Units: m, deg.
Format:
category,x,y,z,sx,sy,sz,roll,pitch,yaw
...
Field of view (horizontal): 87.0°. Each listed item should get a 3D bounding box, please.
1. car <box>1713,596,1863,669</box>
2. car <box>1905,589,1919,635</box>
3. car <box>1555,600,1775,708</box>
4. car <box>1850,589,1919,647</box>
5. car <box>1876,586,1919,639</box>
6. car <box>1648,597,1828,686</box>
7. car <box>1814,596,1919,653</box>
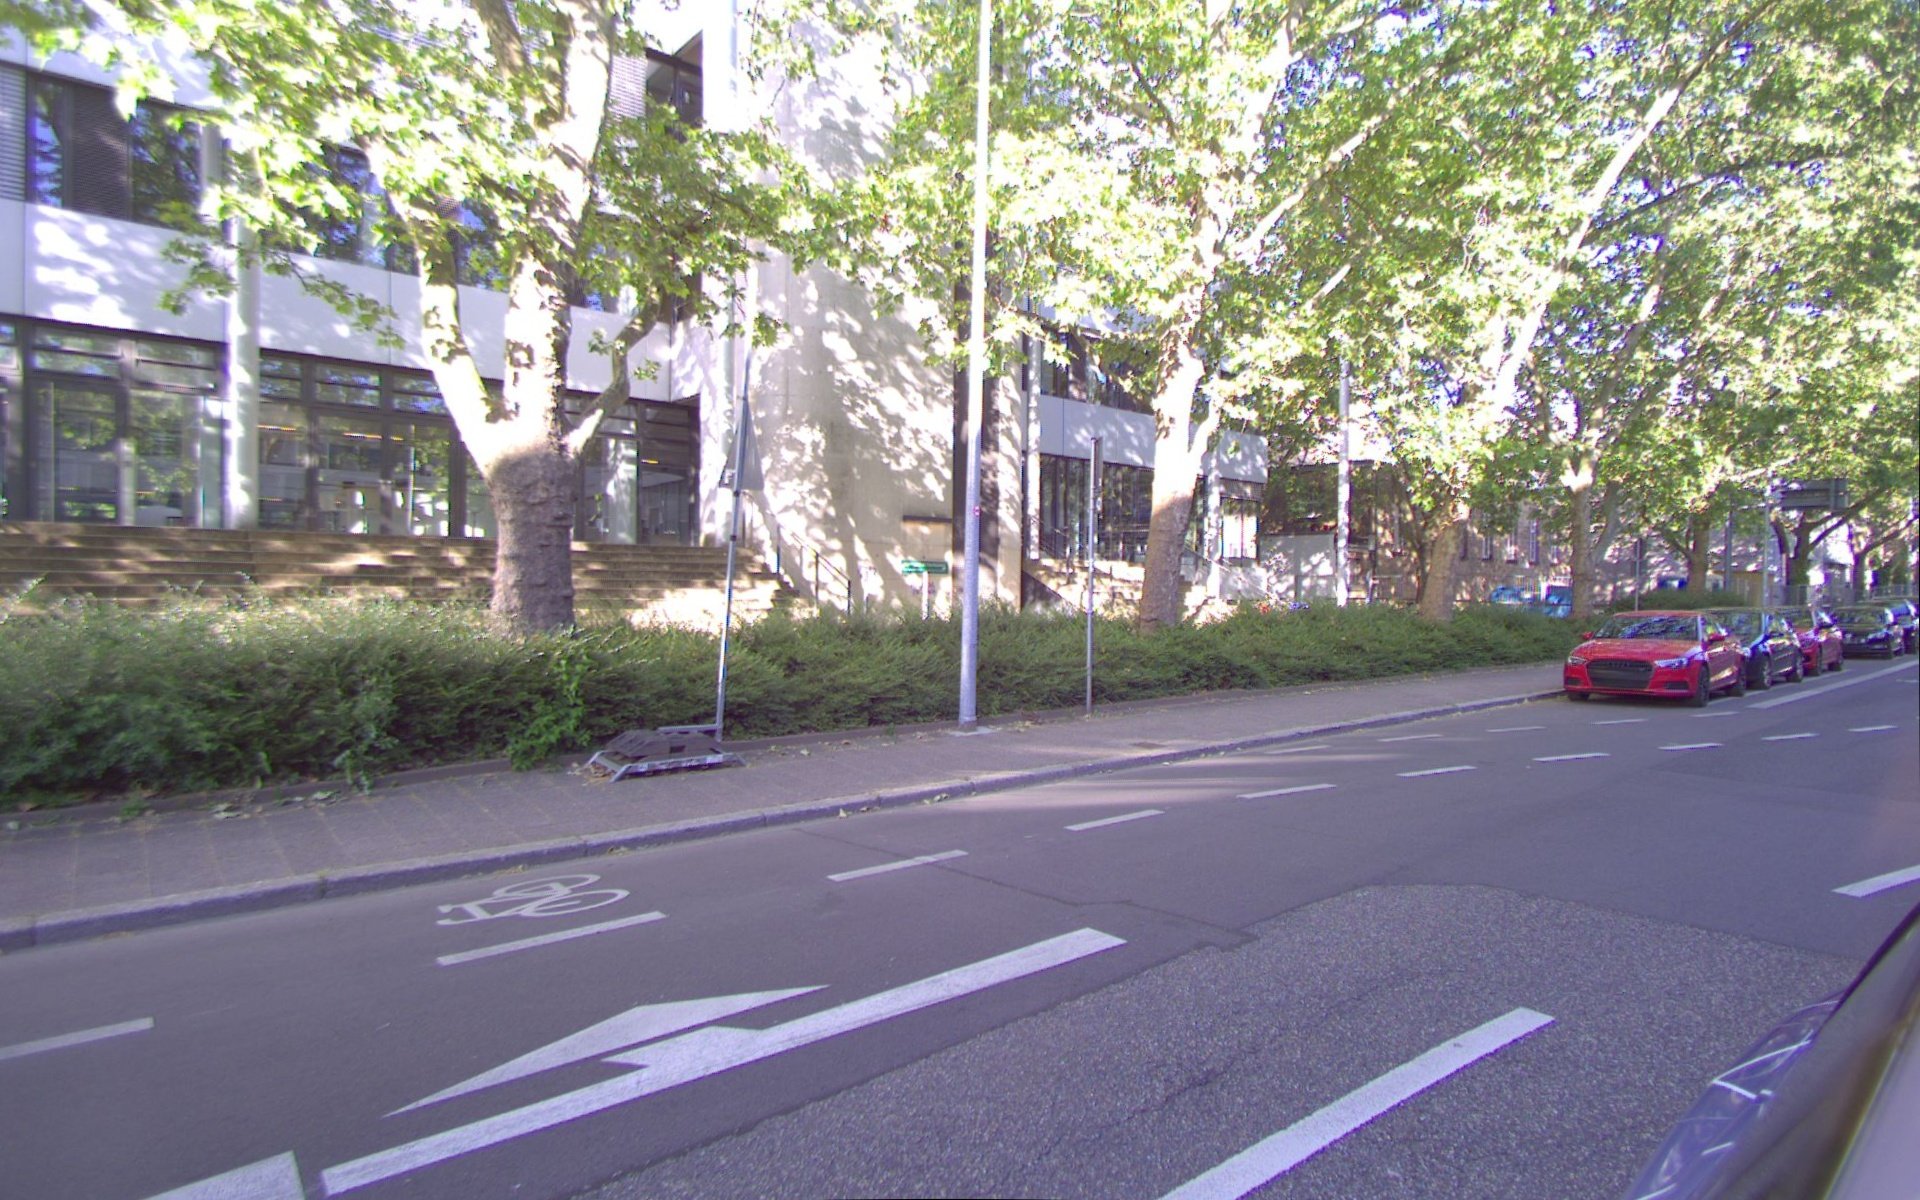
category,x,y,z,sx,sy,sz,roll,pitch,yaw
car,18.446,0.640,22.482,4.403,1.469,1.865,0,0,-41
car,38.885,0.449,39.972,4.403,1.781,1.865,0,0,-41
car,11.331,0.741,16.144,4.403,1.469,1.865,0,0,-41
car,29.581,0.518,31.811,4.403,1.689,1.865,0,0,-41
car,33.919,0.400,35.702,4.403,1.781,1.865,0,0,-41
car,14.778,0.695,19.145,4.403,1.469,1.865,0,0,-41
car,25.802,0.625,28.616,4.403,1.469,1.865,0,0,-41
